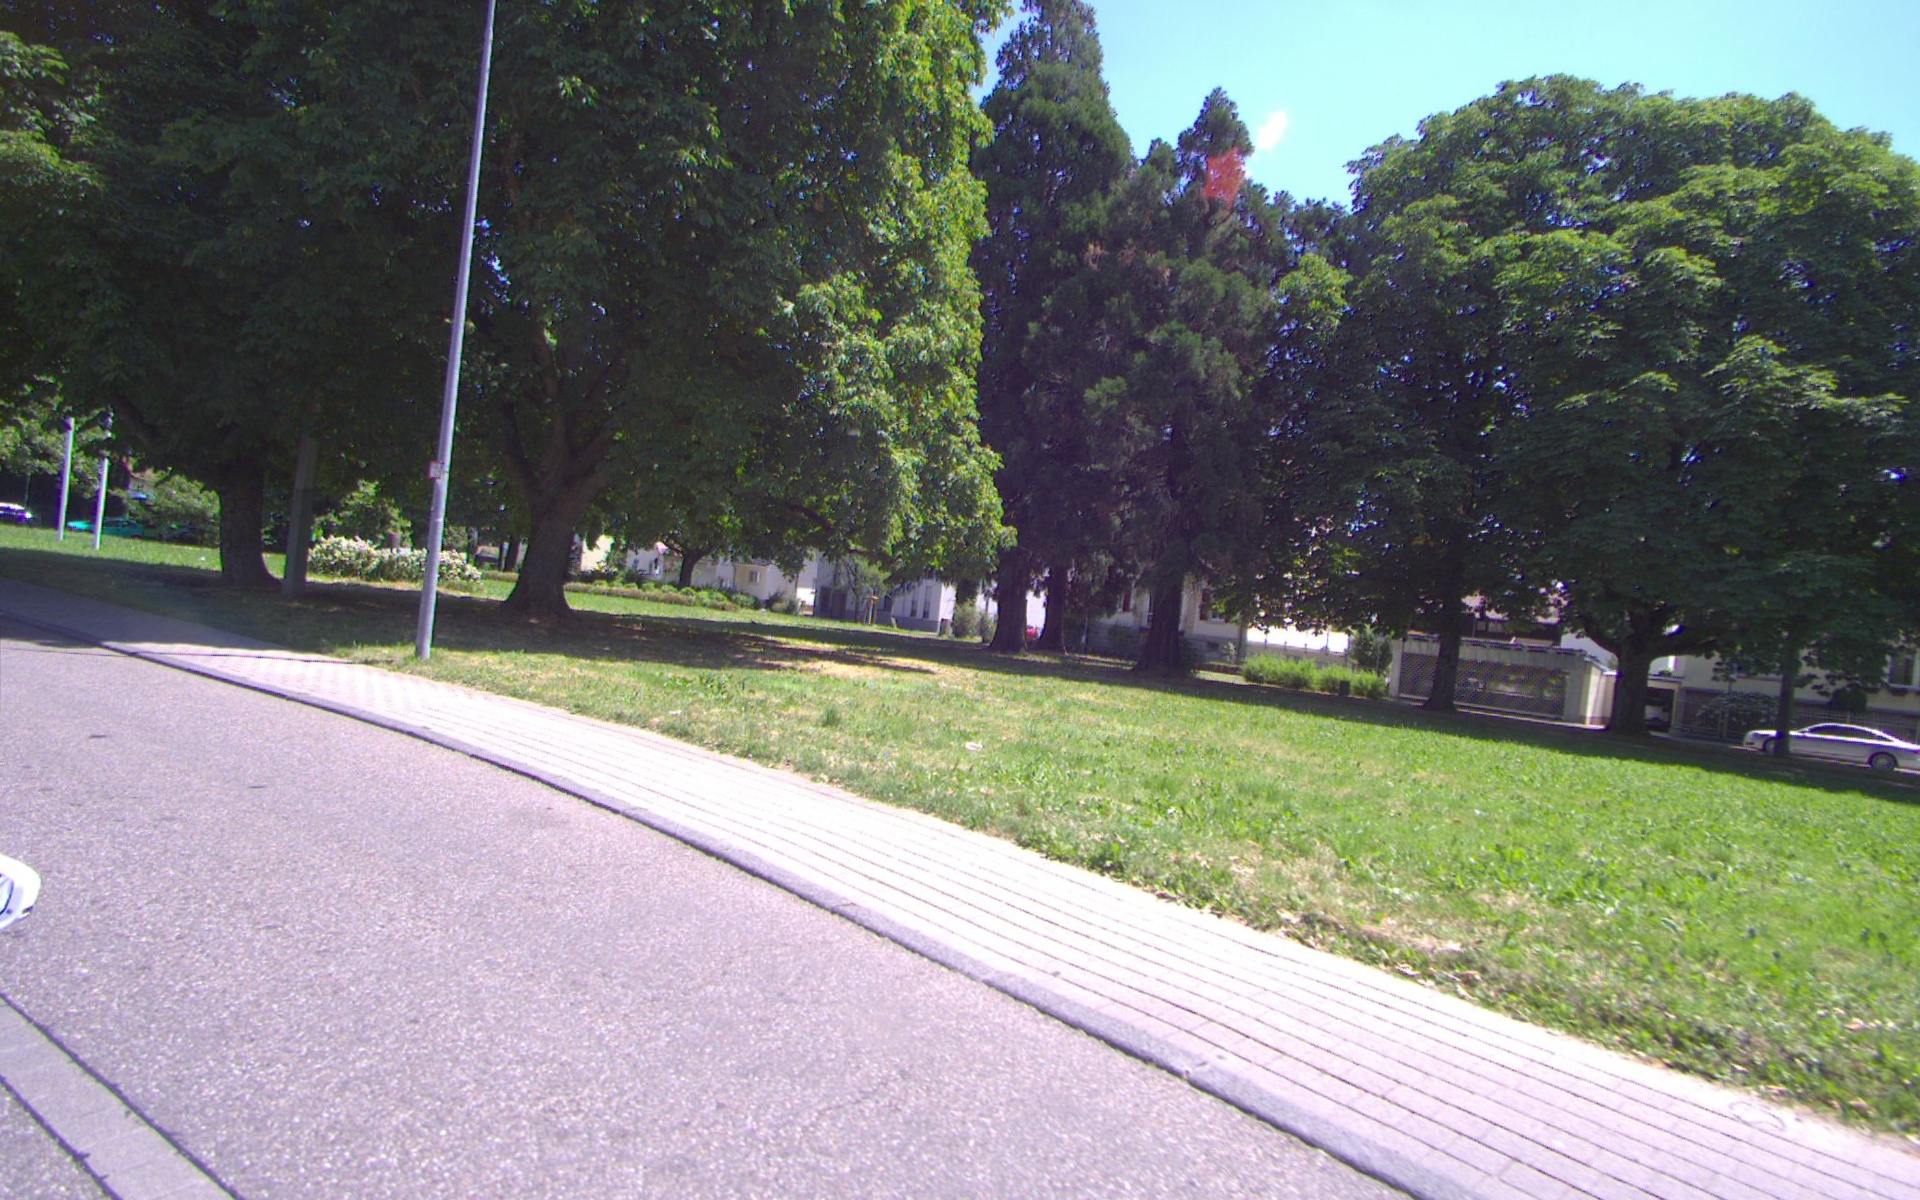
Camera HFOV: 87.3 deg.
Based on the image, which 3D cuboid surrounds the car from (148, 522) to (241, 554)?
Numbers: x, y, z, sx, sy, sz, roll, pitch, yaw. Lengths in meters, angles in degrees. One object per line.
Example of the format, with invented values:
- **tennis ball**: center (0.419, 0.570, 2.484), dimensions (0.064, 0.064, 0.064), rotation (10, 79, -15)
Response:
- **car**: center (-50.056, -4.031, 65.850), dimensions (1.967, 1.433, 4.344), rotation (5, -2, 31)

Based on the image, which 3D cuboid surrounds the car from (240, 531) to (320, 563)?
- **car**: center (-47.345, -3.698, 70.084), dimensions (1.968, 1.627, 4.102), rotation (5, -2, 32)

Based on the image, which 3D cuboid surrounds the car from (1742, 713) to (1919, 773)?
- **car**: center (30.323, 4.921, 35.072), dimensions (4.654, 1.303, 1.661), rotation (5, -1, 44)

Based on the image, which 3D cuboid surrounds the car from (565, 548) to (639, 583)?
- **car**: center (-28.819, -2.708, 81.038), dimensions (5.219, 2.113, 1.986), rotation (7, -3, -31)

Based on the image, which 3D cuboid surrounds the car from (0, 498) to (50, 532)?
- **car**: center (-55.078, -5.043, 56.991), dimensions (1.968, 1.627, 4.826), rotation (6, -1, 34)

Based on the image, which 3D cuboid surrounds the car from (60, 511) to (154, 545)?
- **car**: center (-52.434, -4.410, 61.898), dimensions (1.968, 1.471, 3.886), rotation (5, -2, 32)

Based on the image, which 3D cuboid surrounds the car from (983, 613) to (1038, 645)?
- **car**: center (3.694, 2.117, 73.121), dimensions (1.808, 1.981, 3.738), rotation (4, -2, 44)

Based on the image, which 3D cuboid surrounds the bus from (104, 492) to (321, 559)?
- **bus**: center (-52.769, -5.147, 71.730), dimensions (2.231, 3.013, 12.396), rotation (5, -1, 31)
